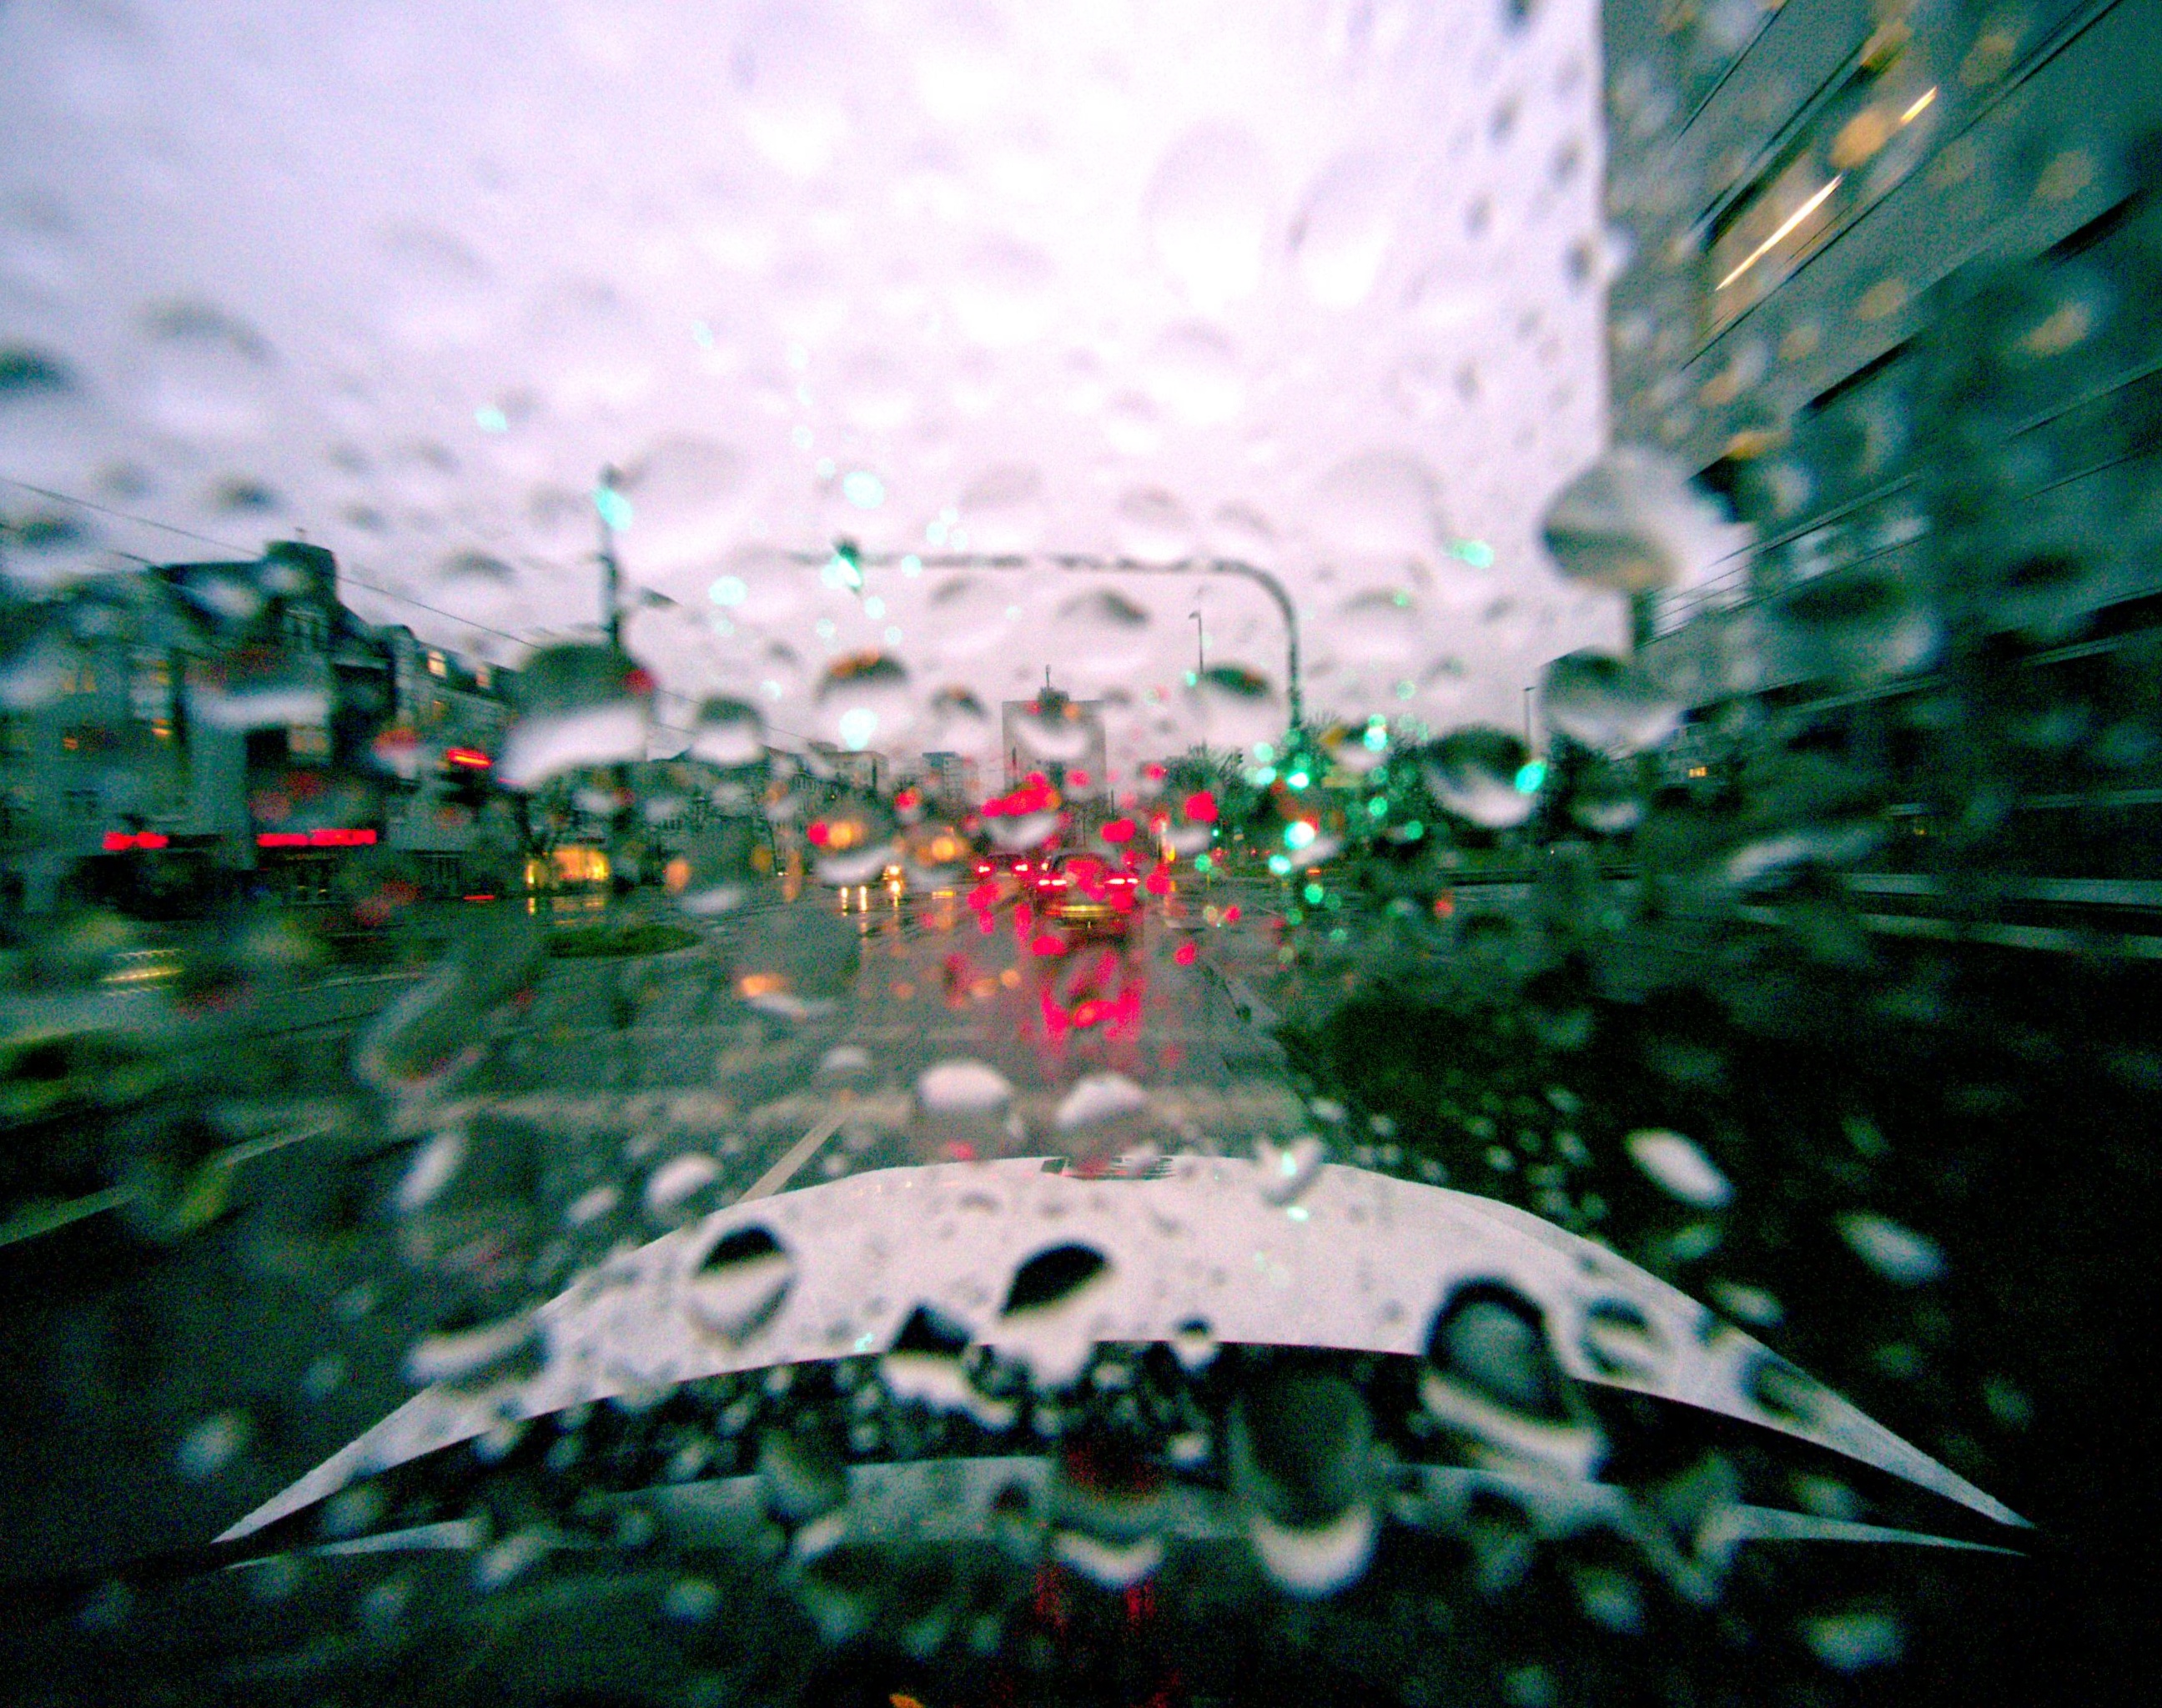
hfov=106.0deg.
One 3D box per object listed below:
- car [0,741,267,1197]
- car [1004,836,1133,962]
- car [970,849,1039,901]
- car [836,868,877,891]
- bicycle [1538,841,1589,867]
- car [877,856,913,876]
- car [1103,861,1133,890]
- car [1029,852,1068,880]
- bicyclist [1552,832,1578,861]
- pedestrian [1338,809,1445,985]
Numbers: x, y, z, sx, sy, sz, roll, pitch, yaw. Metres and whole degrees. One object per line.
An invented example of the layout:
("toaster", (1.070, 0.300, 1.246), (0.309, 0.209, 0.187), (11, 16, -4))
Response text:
("car", (-5.843, 0.523, 2.349), (1.945, 2.033, 4.885), (-1, 0, 2))
("car", (-0.075, 0.752, 14.873), (1.984, 1.976, 4.073), (0, -1, 4))
("car", (-2.670, 0.745, 29.343), (1.987, 1.712, 4.325), (0, -1, 1))
("car", (-15.907, 1.796, 57.912), (1.798, 1.607, 3.999), (0, -1, 0))
("bicycle", (24.263, -0.022, 40.982), (1.958, 1.215, 1.040), (-3, 1, -2))
("car", (-14.632, 0.957, 64.310), (1.582, 1.529, 4.934), (0, -1, 1))
("car", (2.576, 1.458, 55.973), (1.847, 1.892, 4.007), (0, -1, 6))
("car", (-1.924, 0.731, 49.343), (1.985, 1.642, 4.025), (0, -1, 3))
("bicyclist", (24.331, -0.377, 40.939), (0.748, 1.430, 0.928), (0, -1, 4))
("pedestrian", (3.323, 0.435, 8.681), (0.788, 1.750, 0.867), (-6, 0, 29))
